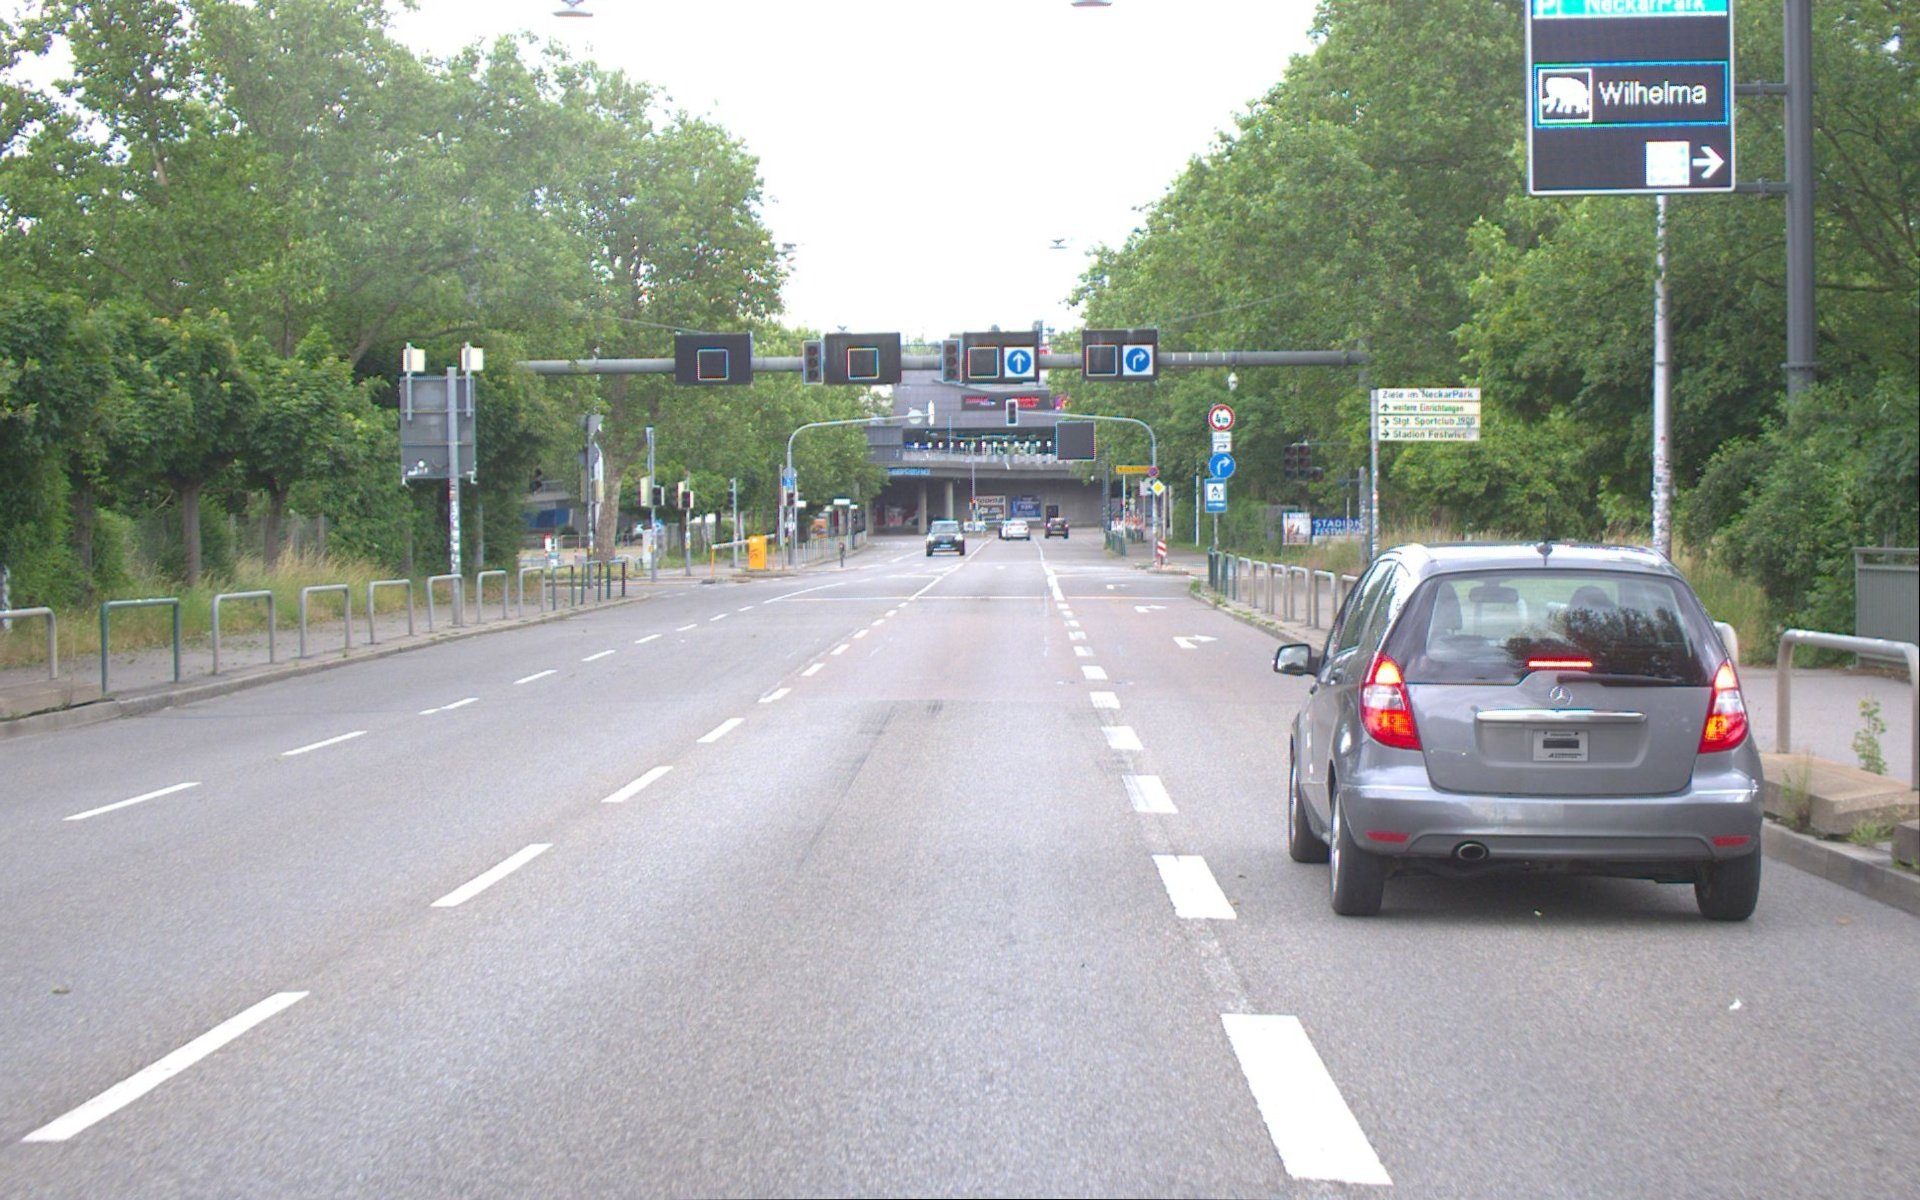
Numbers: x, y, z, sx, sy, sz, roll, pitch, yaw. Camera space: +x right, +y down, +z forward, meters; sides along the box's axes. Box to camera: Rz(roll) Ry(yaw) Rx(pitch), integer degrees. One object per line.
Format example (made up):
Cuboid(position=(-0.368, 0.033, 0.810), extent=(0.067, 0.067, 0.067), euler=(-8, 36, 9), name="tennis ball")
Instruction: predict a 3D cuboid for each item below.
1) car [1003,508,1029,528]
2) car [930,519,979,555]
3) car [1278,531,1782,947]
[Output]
Cuboid(position=(4.236, -6.213, 259.685), extent=(1.778, 1.455, 3.822), euler=(2, 1, 2), name="car")
Cuboid(position=(-0.261, -3.053, 165.359), extent=(1.994, 1.654, 4.517), euler=(-2, 1, 4), name="car")
Cuboid(position=(2.402, 0.502, 15.412), extent=(1.826, 1.611, 4.034), euler=(0, 1, 4), name="car")
